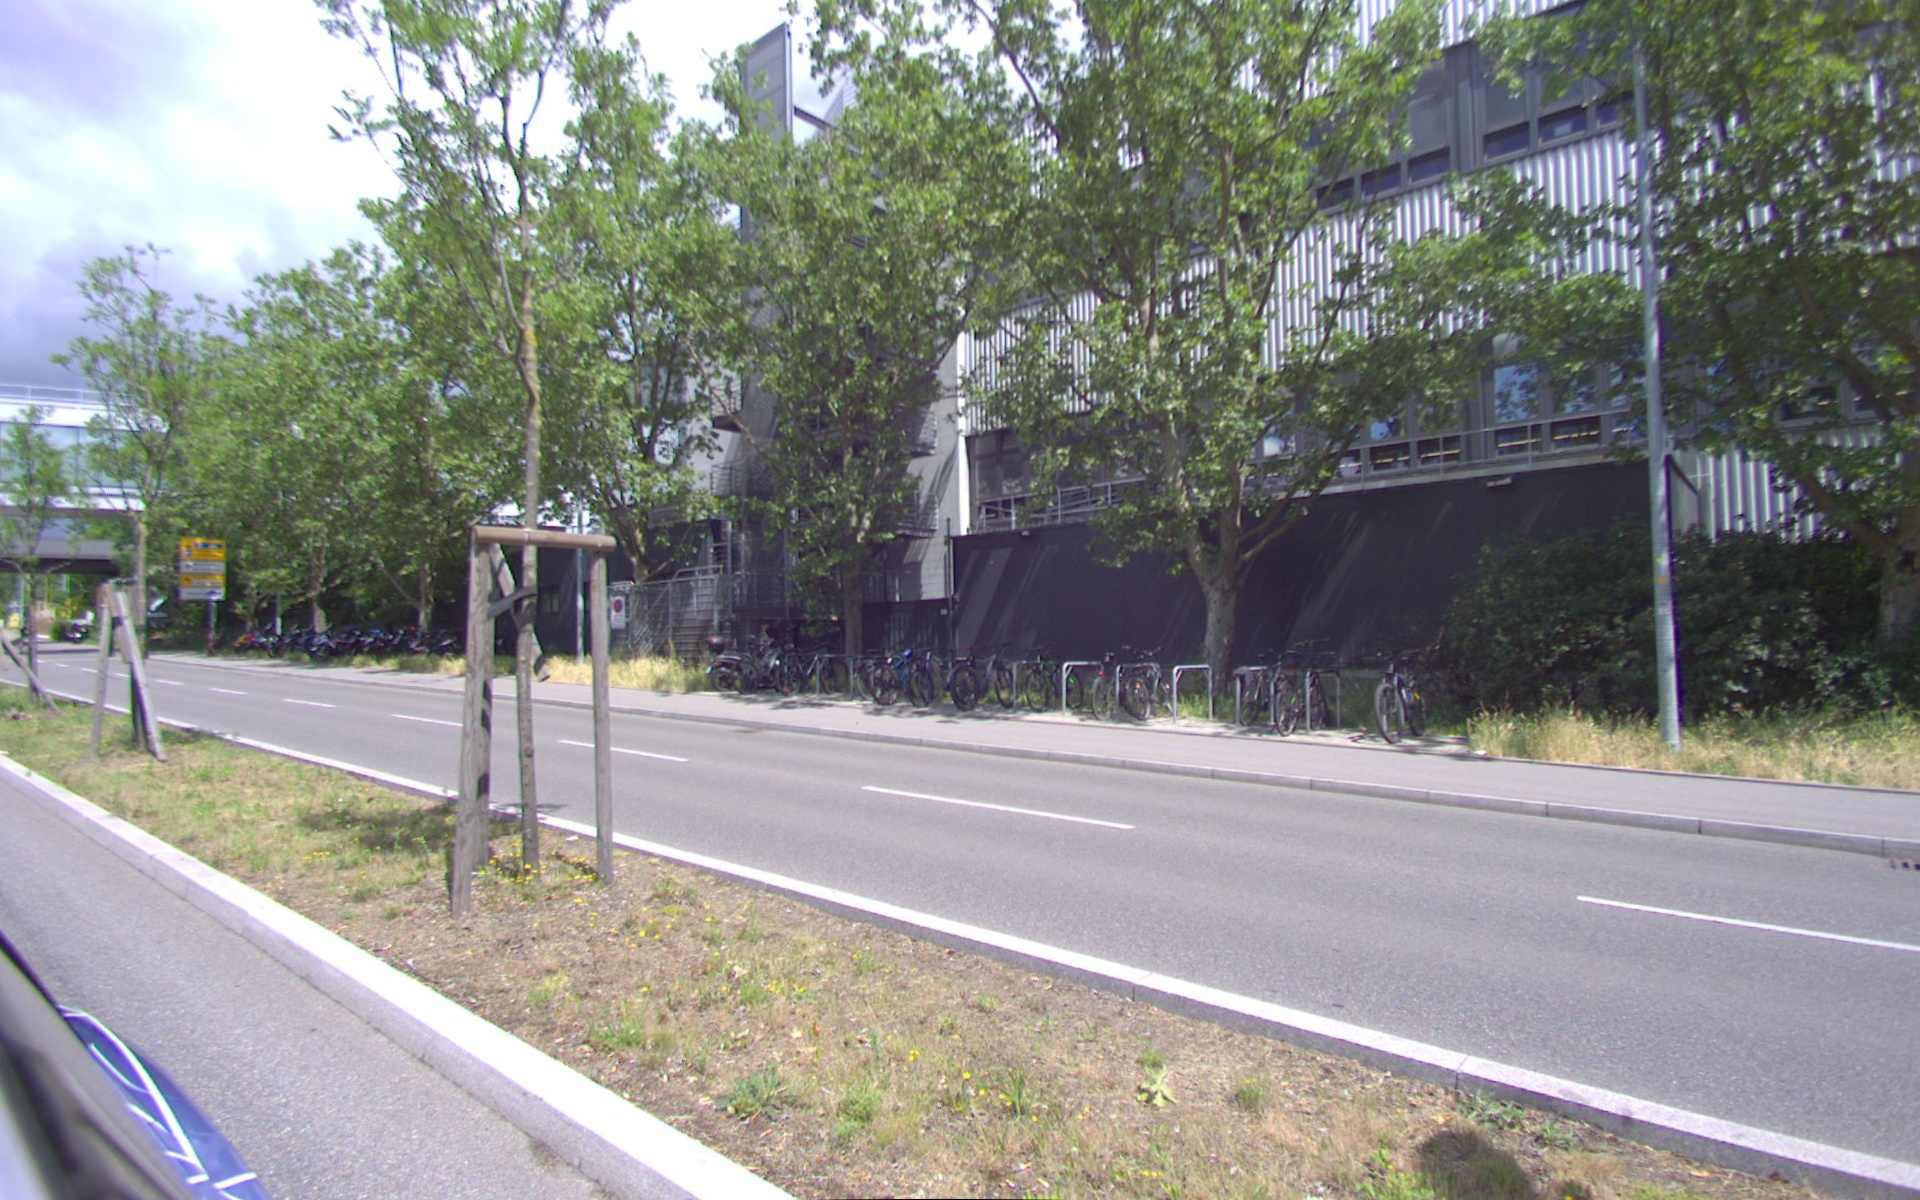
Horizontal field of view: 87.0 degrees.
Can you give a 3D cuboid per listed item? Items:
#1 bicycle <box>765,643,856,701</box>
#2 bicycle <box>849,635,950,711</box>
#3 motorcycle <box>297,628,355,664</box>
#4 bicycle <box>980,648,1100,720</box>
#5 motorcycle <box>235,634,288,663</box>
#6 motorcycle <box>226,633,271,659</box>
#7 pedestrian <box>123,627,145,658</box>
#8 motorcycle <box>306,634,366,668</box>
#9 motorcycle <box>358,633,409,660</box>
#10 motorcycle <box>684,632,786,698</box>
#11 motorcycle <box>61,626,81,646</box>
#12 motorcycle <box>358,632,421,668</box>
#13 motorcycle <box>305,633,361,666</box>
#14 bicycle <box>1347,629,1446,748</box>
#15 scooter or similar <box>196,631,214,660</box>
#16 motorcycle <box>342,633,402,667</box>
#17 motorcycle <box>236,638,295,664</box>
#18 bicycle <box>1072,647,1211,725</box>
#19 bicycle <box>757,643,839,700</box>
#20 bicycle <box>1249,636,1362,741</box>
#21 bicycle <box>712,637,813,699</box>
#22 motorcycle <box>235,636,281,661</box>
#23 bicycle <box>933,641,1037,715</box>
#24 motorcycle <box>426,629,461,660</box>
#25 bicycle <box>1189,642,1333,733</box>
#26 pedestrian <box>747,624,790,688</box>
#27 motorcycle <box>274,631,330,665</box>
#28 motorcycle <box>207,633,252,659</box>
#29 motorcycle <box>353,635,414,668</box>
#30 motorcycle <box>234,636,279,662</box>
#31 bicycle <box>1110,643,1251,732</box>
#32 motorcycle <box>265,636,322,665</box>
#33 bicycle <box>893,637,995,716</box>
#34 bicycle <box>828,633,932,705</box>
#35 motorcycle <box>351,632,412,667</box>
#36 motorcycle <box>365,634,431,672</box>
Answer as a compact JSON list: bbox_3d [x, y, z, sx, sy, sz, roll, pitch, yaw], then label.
[{"bbox_3d":[-3.066,1.466,20.947,0.497,1.070,2.060,-2,-1,38],"label":"bicycle"},{"bbox_3d":[-1.104,1.308,18.767,0.805,1.292,1.899,-2,-1,38],"label":"bicycle"},{"bbox_3d":[-25.989,1.873,41.514,1.905,1.354,0.867,-2,-1,-29],"label":"motorcycle"},{"bbox_3d":[1.412,1.377,17.188,0.848,1.014,2.814,-2,-1,31],"label":"bicycle"},{"bbox_3d":[-31.433,2.189,45.561,0.849,1.188,1.735,-3,-1,29],"label":"motorcycle"},{"bbox_3d":[-33.900,2.189,48.230,0.773,1.131,1.579,-3,-1,31],"label":"motorcycle"},{"bbox_3d":[-45.138,2.333,55.324,0.812,1.624,0.760,-1,1,39],"label":"pedestrian"},{"bbox_3d":[-24.291,1.991,39.426,1.855,1.188,0.816,-2,-1,-41],"label":"motorcycle"},{"bbox_3d":[-26.503,2.126,46.526,1.904,1.124,0.924,-3,-1,-23],"label":"motorcycle"},{"bbox_3d":[-4.840,1.375,21.908,0.805,1.319,2.113,-2,-1,38],"label":"motorcycle"},{"bbox_3d":[-57.419,2.340,65.358,2.255,1.207,0.633,-1,1,40],"label":"motorcycle"},{"bbox_3d":[-20.654,1.796,36.673,1.855,1.195,0.730,-2,0,-42],"label":"motorcycle"},{"bbox_3d":[-25.097,1.985,40.516,1.853,1.188,0.817,-2,-1,-35],"label":"motorcycle"},{"bbox_3d":[5.629,1.073,12.971,0.489,1.374,2.144,-2,-2,42],"label":"bicycle"},{"bbox_3d":[-34.173,2.065,45.802,1.478,1.245,0.350,0,0,40],"label":"scooter or similar"},{"bbox_3d":[-22.690,1.921,39.098,0.698,1.188,1.857,-4,-1,44],"label":"motorcycle"},{"bbox_3d":[-30.656,2.253,44.706,0.917,1.124,1.919,0,-3,29],"label":"motorcycle"},{"bbox_3d":[2.887,1.305,15.885,2.532,1.104,0.697,2,-3,-40],"label":"bicycle"},{"bbox_3d":[-3.388,1.475,21.293,0.422,1.083,1.905,-2,-1,38],"label":"bicycle"},{"bbox_3d":[4.744,1.152,13.792,0.555,1.267,2.379,-2,-2,42],"label":"bicycle"},{"bbox_3d":[-4.172,1.411,21.520,0.805,1.189,2.113,-2,-1,38],"label":"bicycle"},{"bbox_3d":[-32.151,2.225,46.380,0.776,1.041,1.574,-4,-1,41],"label":"motorcycle"},{"bbox_3d":[0.453,1.308,17.430,0.805,1.131,1.899,-2,-1,38],"label":"bicycle"},{"bbox_3d":[-21.380,1.835,41.863,1.984,1.219,0.645,-4,-1,45],"label":"motorcycle"},{"bbox_3d":[4.458,1.236,14.864,2.533,1.166,0.727,0,-1,-40],"label":"bicycle"},{"bbox_3d":[-4.837,1.392,25.496,0.744,1.563,0.822,0,-2,-40],"label":"pedestrian"},{"bbox_3d":[-27.964,2.032,43.058,1.905,1.300,0.895,-2,-1,-29],"label":"motorcycle"},{"bbox_3d":[-35.751,2.244,49.537,1.721,1.180,0.777,-2,-1,-42],"label":"motorcycle"},{"bbox_3d":[-21.398,1.893,37.566,1.853,1.093,0.796,-2,-1,-35],"label":"motorcycle"},{"bbox_3d":[-32.968,2.295,47.445,0.776,1.131,1.574,-4,-1,41],"label":"motorcycle"},{"bbox_3d":[3.356,1.273,15.239,2.533,1.166,0.645,0,-1,-40],"label":"bicycle"},{"bbox_3d":[-28.976,2.178,44.006,1.904,1.124,0.924,-3,-1,-23],"label":"motorcycle"},{"bbox_3d":[-0.268,1.329,18.109,0.805,1.292,1.899,-1,-1,38],"label":"bicycle"},{"bbox_3d":[-1.541,1.322,19.913,0.805,1.292,2.113,-2,-1,38],"label":"bicycle"},{"bbox_3d":[-21.937,1.866,38.388,0.655,1.219,1.857,-4,-1,44],"label":"motorcycle"},{"bbox_3d":[-19.360,1.812,34.870,1.855,1.182,0.746,-2,-1,-41],"label":"motorcycle"}]
